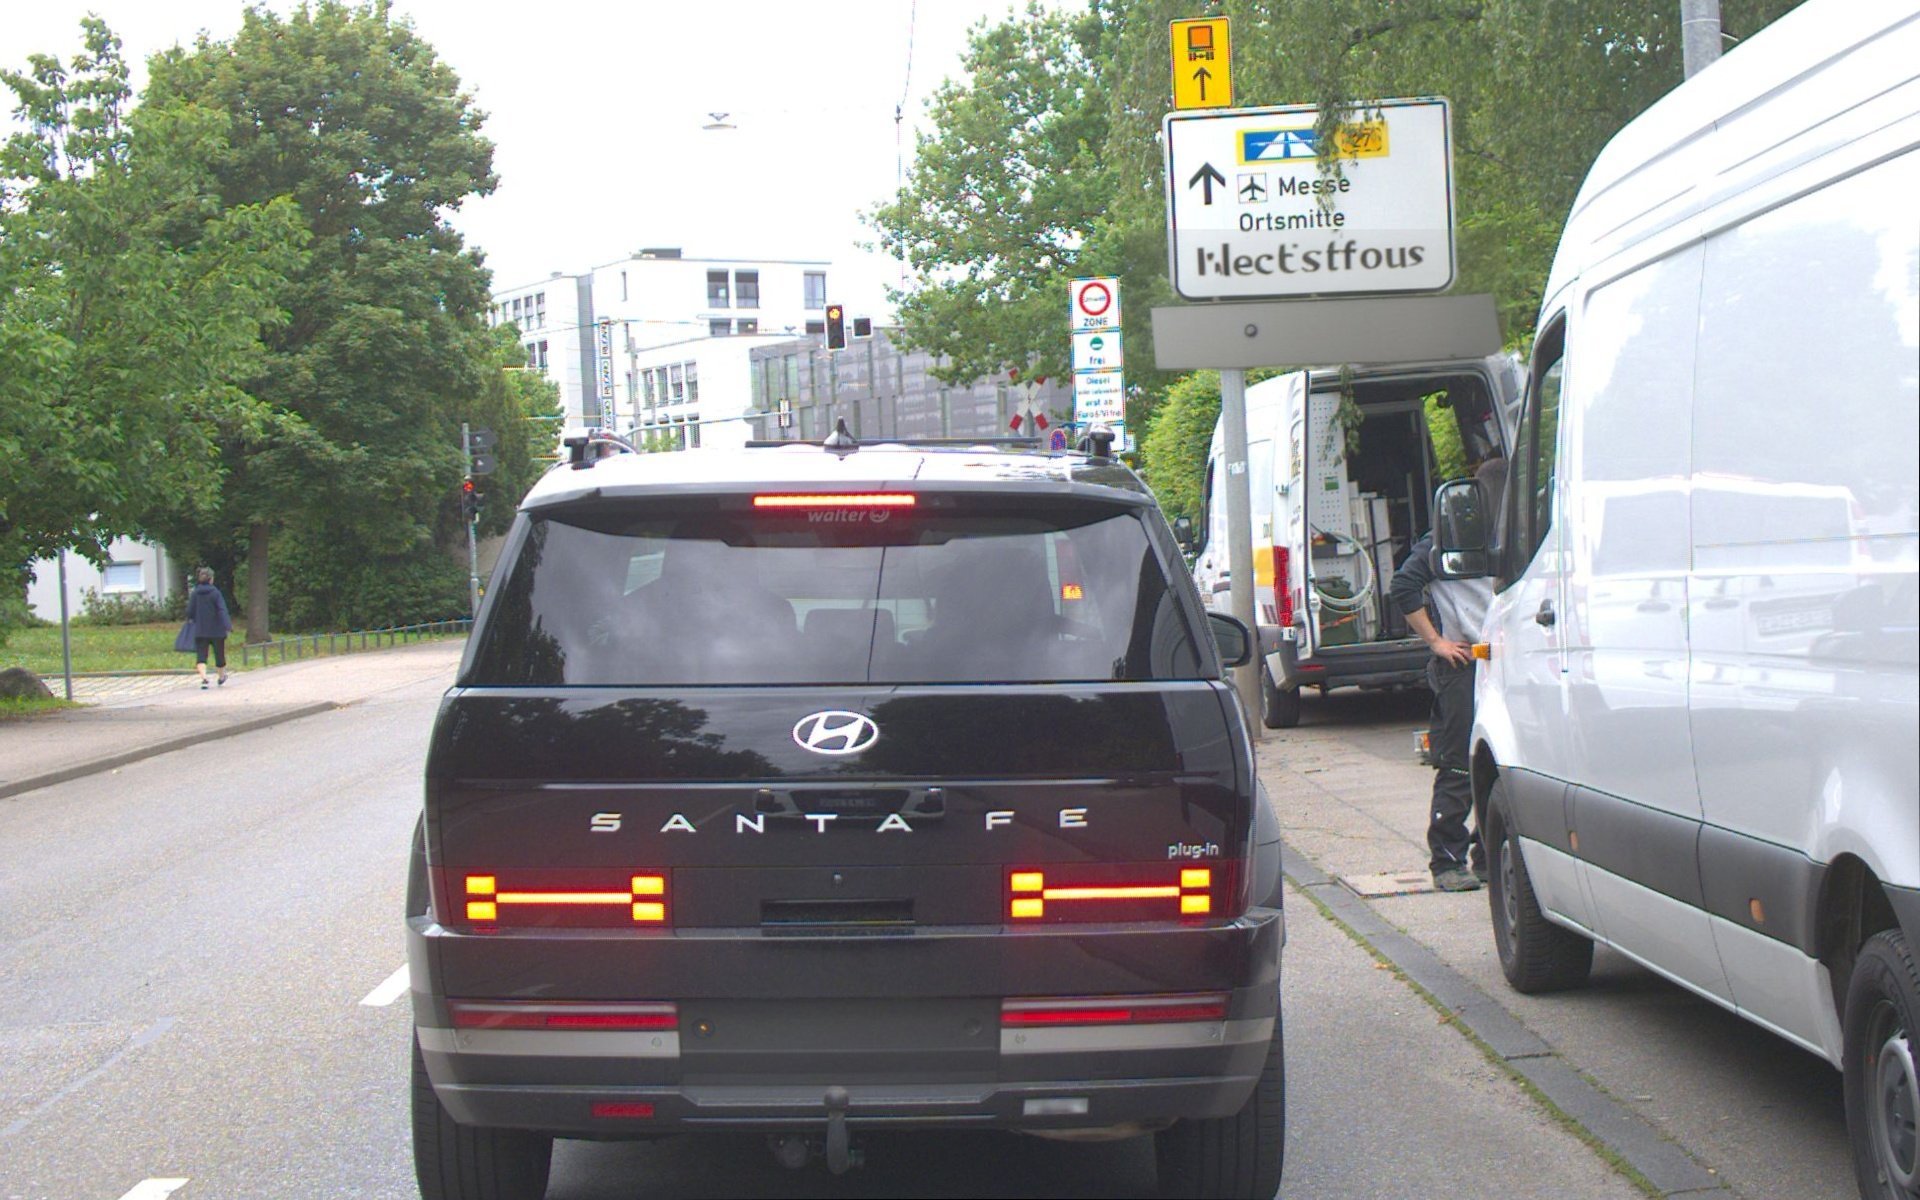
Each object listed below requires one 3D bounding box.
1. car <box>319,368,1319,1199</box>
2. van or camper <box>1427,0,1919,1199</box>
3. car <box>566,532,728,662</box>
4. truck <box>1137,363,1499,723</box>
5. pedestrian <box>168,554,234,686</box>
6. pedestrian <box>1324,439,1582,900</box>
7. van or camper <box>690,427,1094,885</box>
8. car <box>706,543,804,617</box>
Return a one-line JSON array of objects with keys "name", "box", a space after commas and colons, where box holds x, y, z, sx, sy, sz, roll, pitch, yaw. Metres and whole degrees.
[{"name": "car", "box": [-0.287, 0.436, 8.539, 1.889, 1.813, 4.000, 0, 1, -1]}, {"name": "van or camper", "box": [2.621, -0.089, 8.126, 1.993, 2.611, 6.541, -2, 1, -1]}, {"name": "car", "box": [-4.453, -0.076, 49.452, 1.859, 1.651, 4.306, -4, 1, -1]}, {"name": "truck", "box": [2.784, -0.445, 28.017, 1.942, 2.553, 5.217, -4, 1, -4]}, {"name": "pedestrian", "box": [-10.117, 0.258, 45.828, 0.738, 1.709, 0.793, -2, 1, -7]}, {"name": "pedestrian", "box": [1.984, 0.267, 13.931, 0.870, 1.791, 0.760, -2, 1, -1]}, {"name": "van or camper", "box": [-0.329, 0.218, 17.482, 1.754, 2.007, 4.000, -2, 1, -1]}, {"name": "car", "box": [-4.491, -0.461, 75.937, 1.859, 1.448, 4.111, -4, 1, -1]}]
